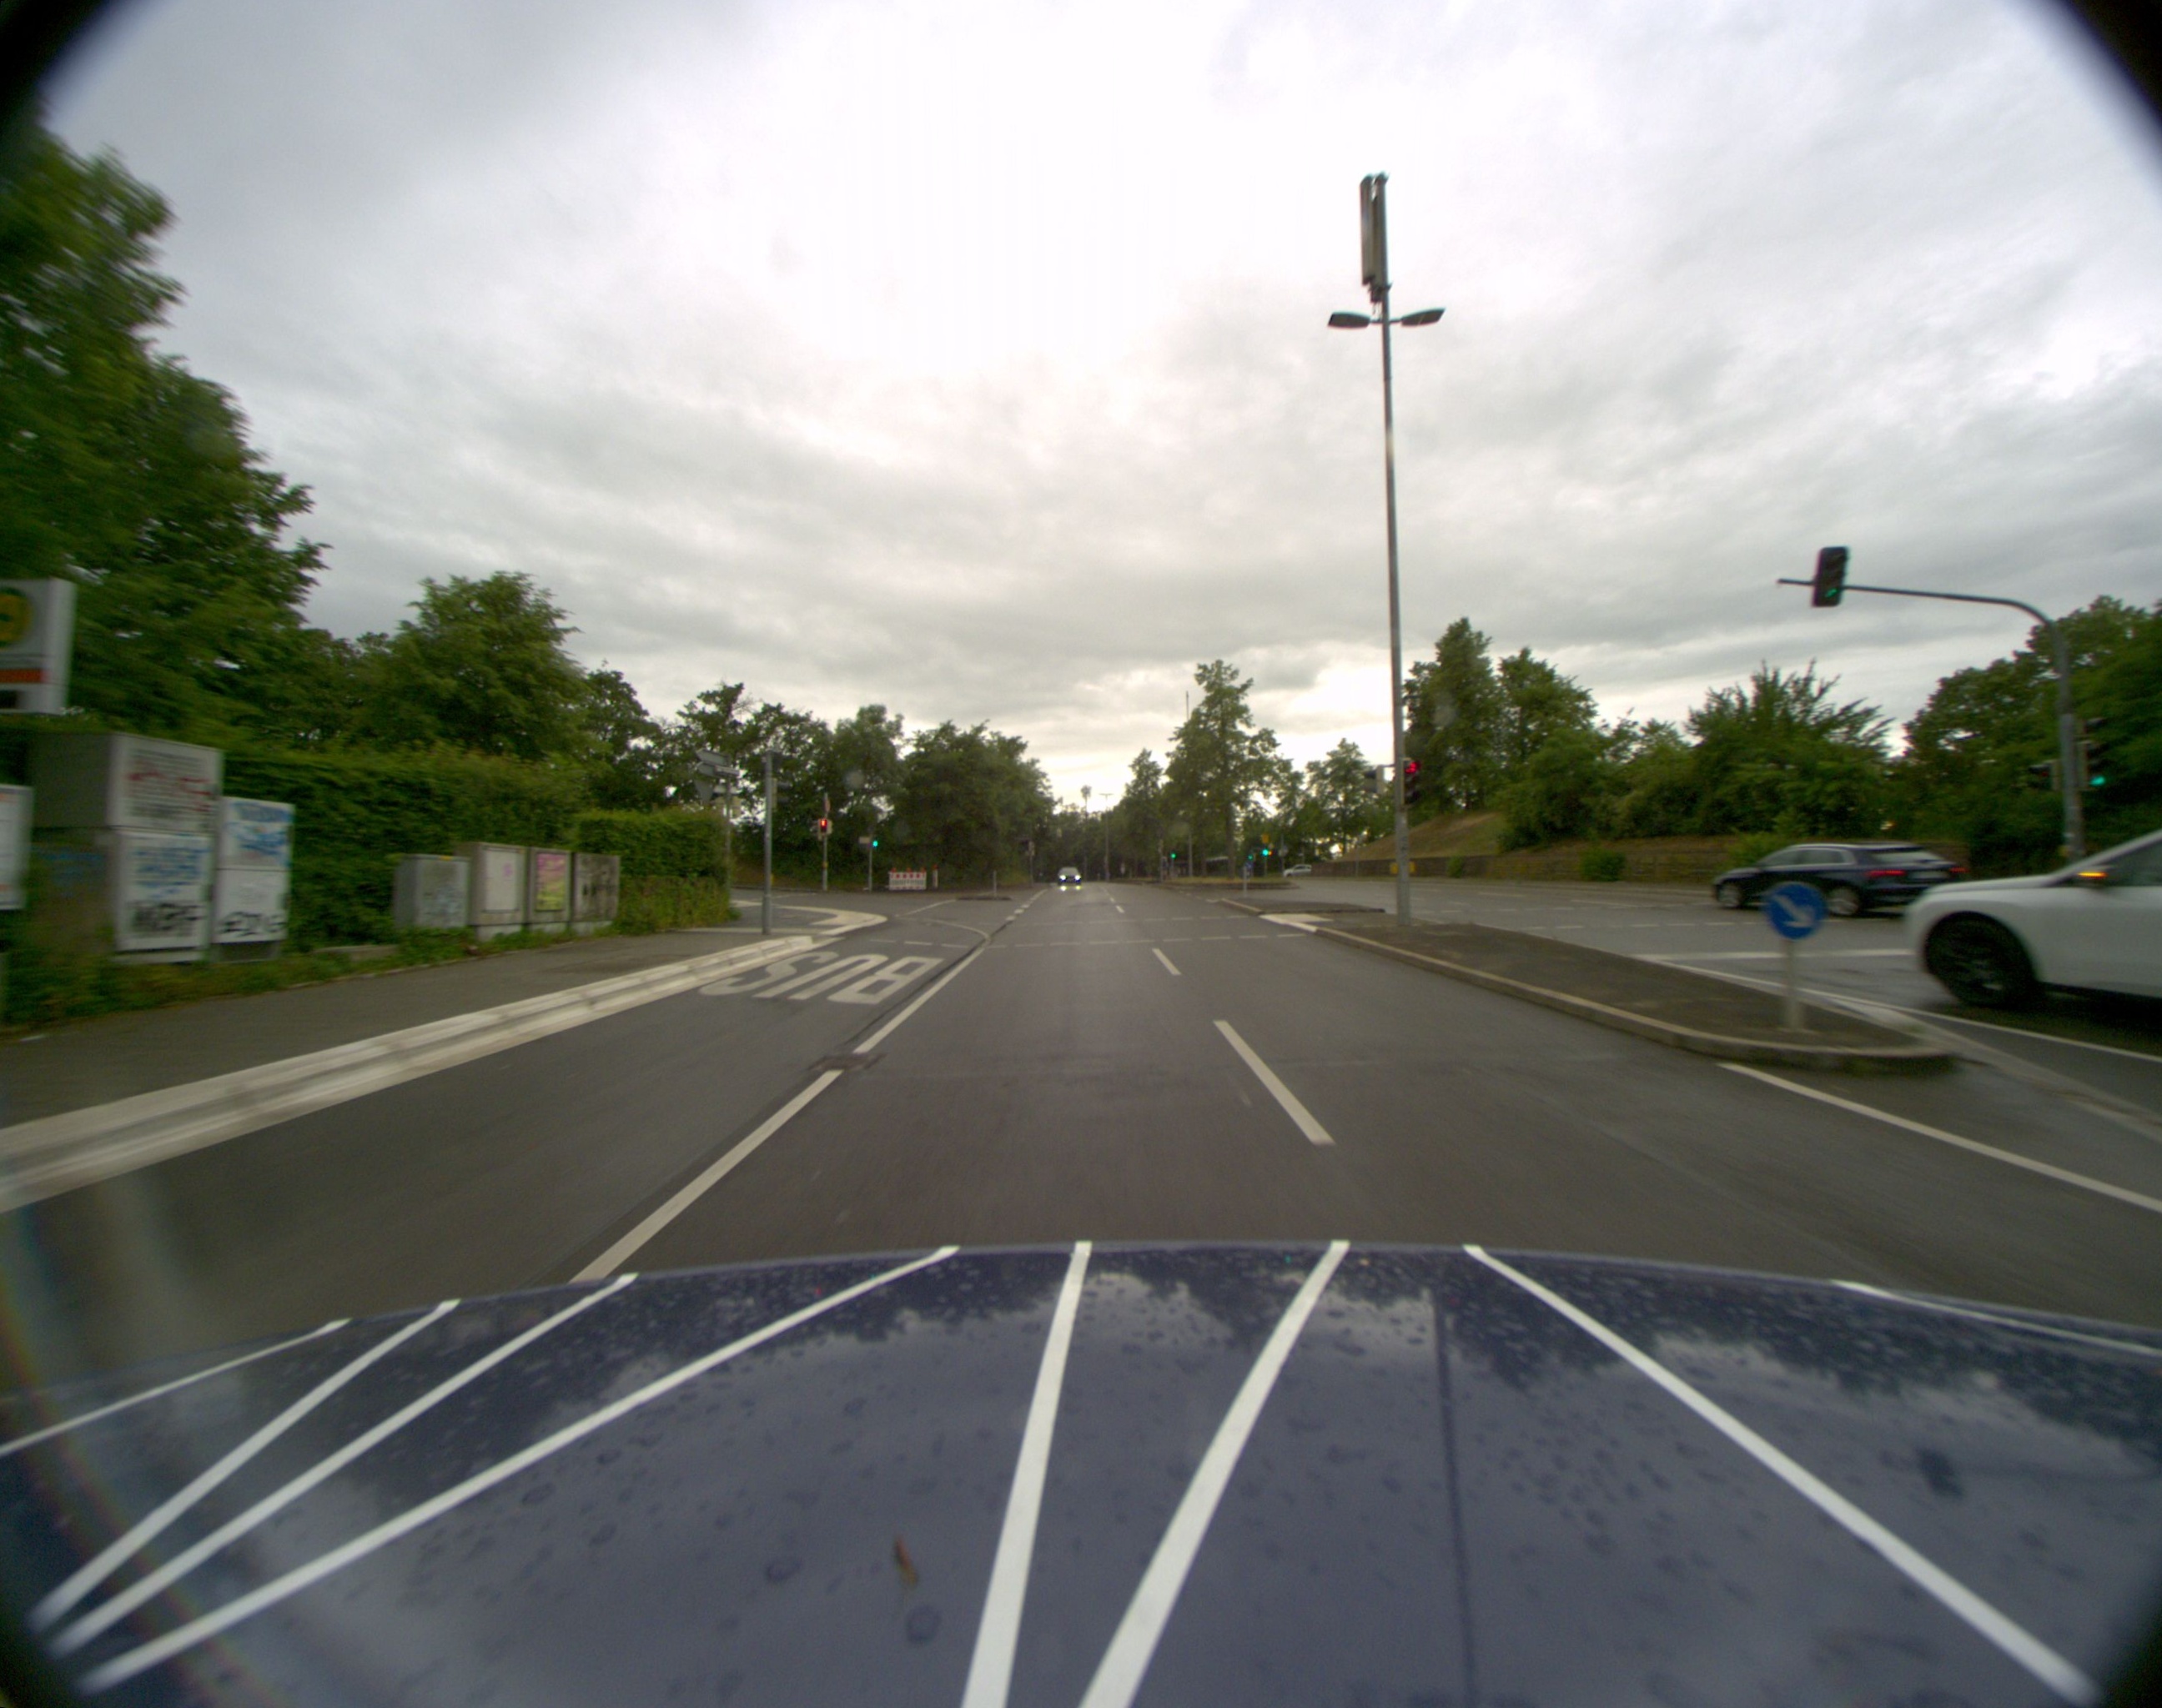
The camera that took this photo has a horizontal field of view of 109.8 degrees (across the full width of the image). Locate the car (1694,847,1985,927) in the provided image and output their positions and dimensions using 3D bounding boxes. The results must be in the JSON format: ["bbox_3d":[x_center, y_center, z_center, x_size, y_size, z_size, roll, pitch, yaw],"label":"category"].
[{"bbox_3d":[15.530,0.602,15.988,1.824,1.429,4.455,-1,0,3],"label":"car"}]

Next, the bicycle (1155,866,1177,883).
[{"bbox_3d":[5.720,1.371,51.205,0.552,1.136,2.144,-1,-1,33],"label":"bicycle"}]

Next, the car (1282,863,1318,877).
[{"bbox_3d":[24.379,1.822,84.608,3.692,1.469,1.763,-1,-1,9],"label":"car"}]

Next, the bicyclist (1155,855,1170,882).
[{"bbox_3d":[5.444,0.963,50.690,0.723,1.742,0.803,2,2,33],"label":"bicyclist"}]

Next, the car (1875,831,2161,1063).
[{"bbox_3d":[8.485,0.631,4.791,1.949,1.626,5.007,-1,0,4],"label":"car"}]

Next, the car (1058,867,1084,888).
[{"bbox_3d":[-0.782,1.950,62.216,1.999,1.575,4.002,2,-4,0],"label":"car"}]
